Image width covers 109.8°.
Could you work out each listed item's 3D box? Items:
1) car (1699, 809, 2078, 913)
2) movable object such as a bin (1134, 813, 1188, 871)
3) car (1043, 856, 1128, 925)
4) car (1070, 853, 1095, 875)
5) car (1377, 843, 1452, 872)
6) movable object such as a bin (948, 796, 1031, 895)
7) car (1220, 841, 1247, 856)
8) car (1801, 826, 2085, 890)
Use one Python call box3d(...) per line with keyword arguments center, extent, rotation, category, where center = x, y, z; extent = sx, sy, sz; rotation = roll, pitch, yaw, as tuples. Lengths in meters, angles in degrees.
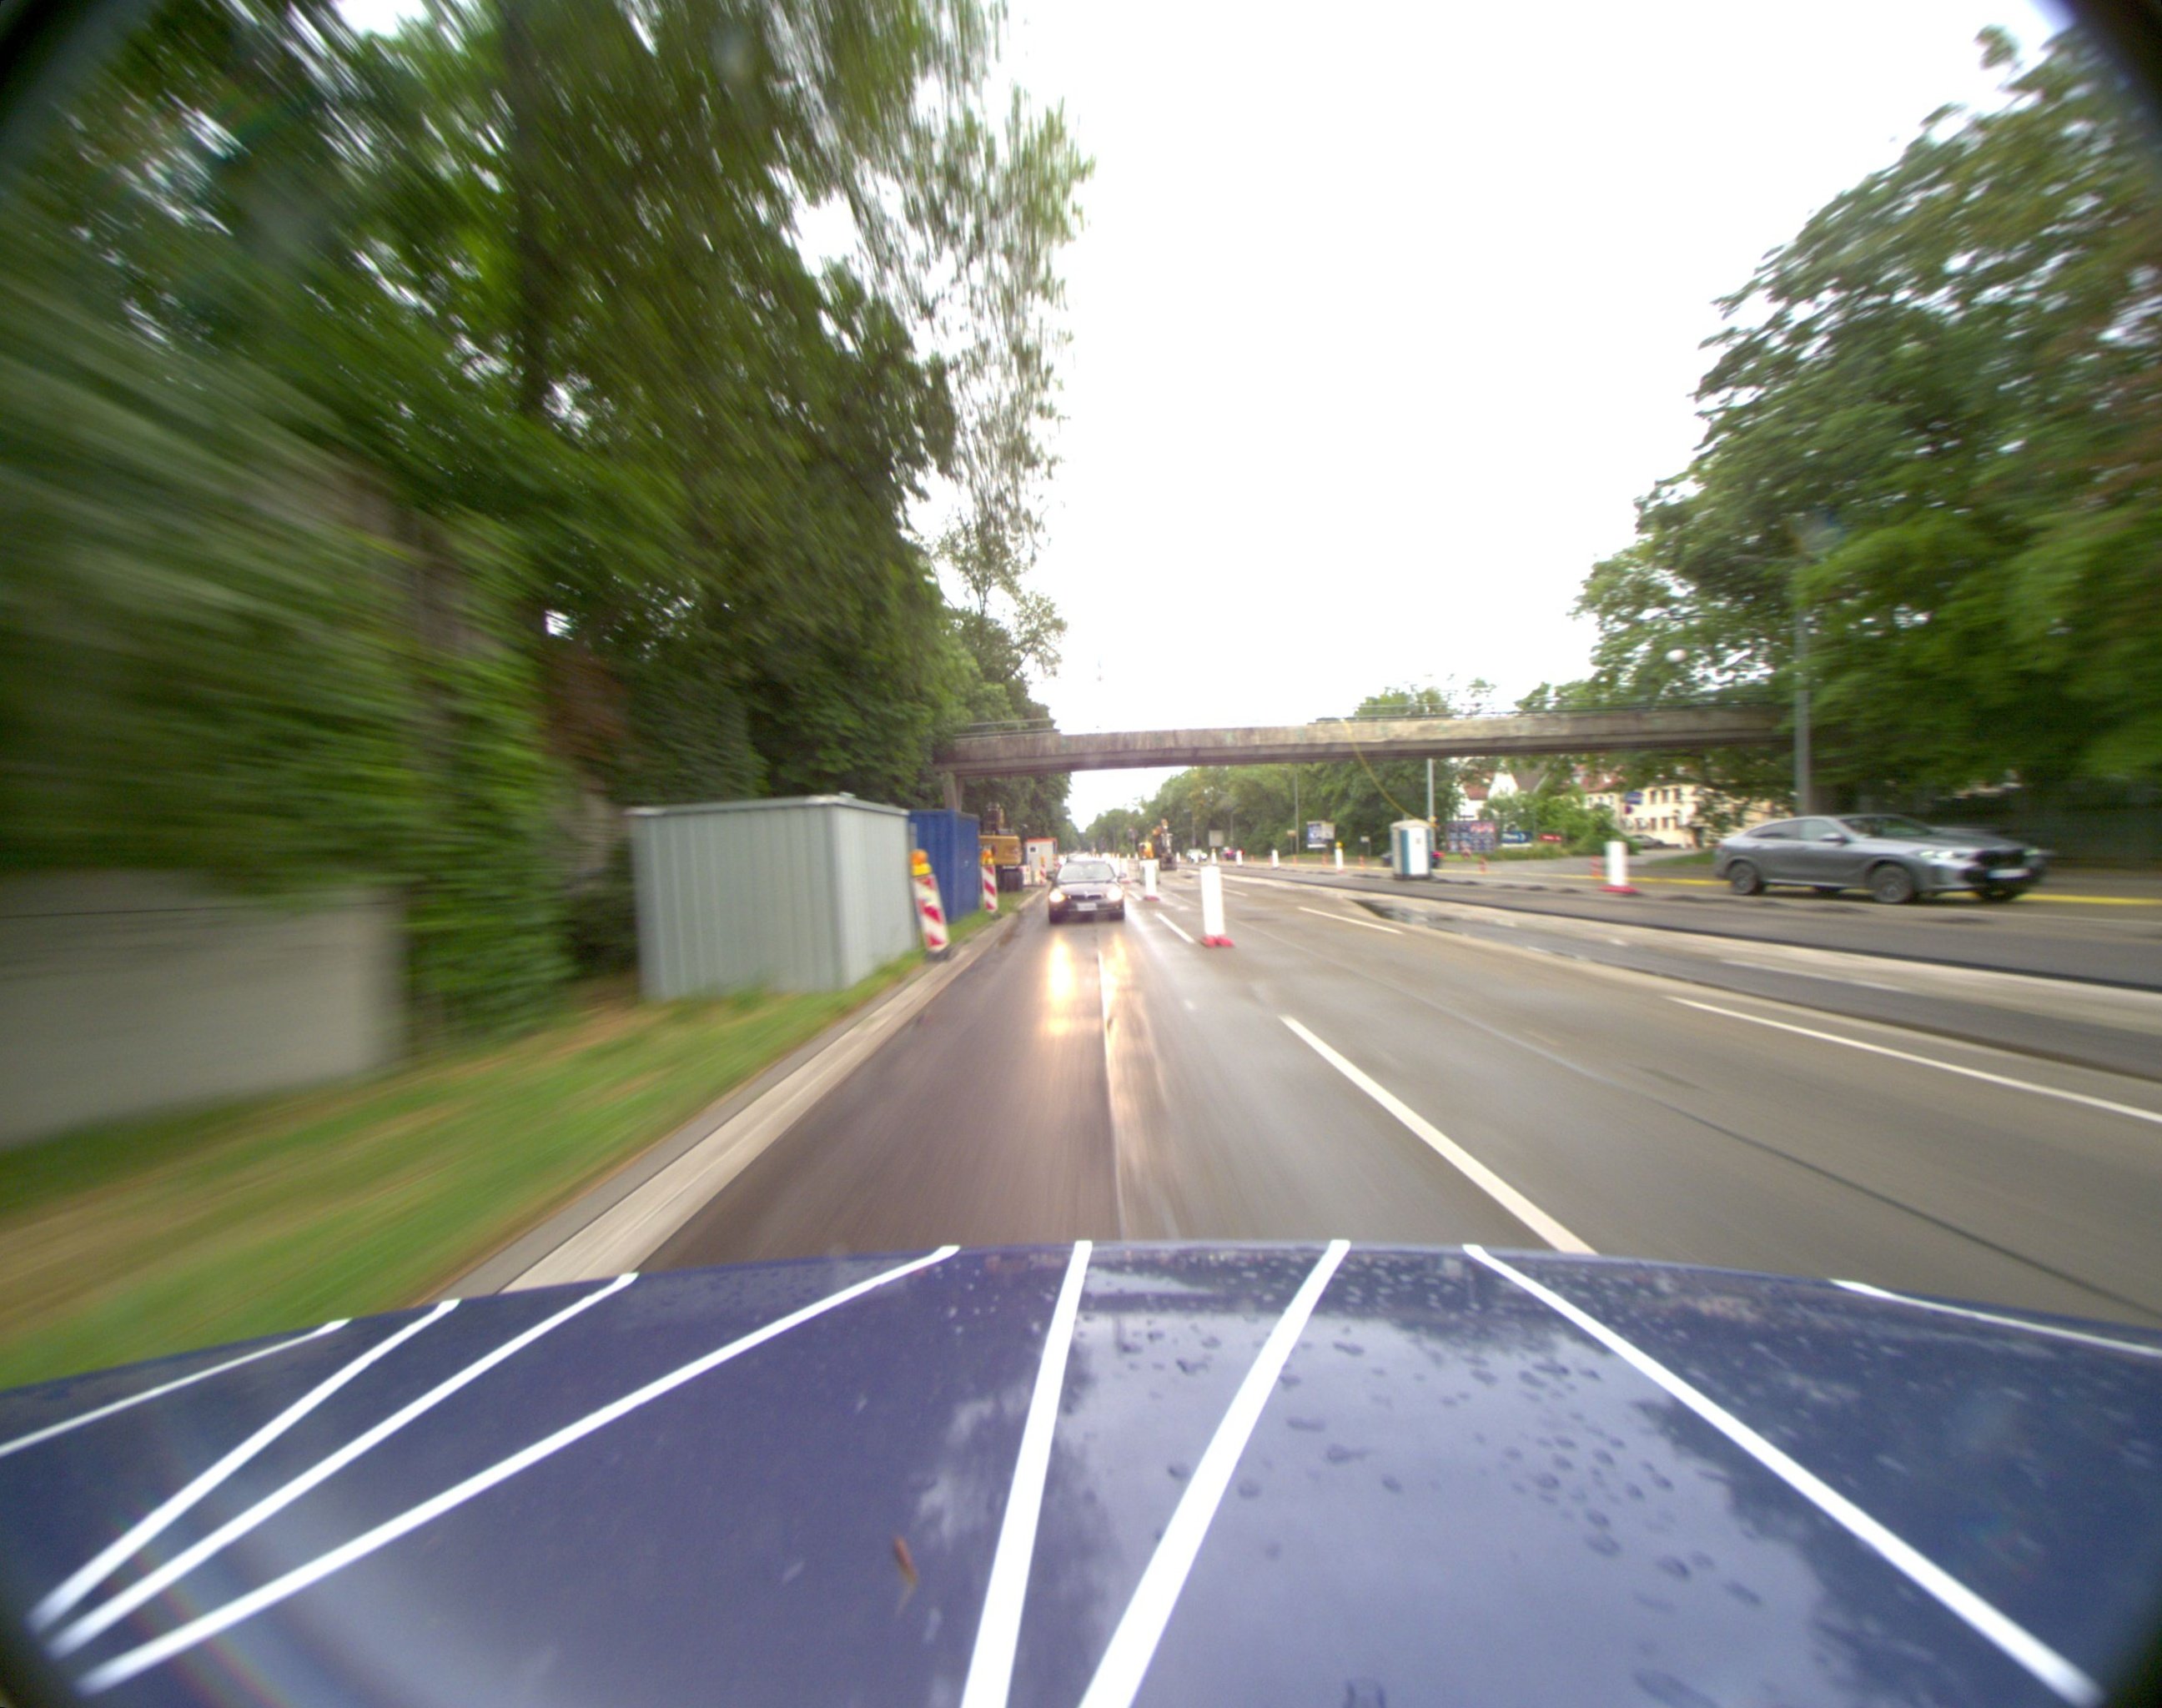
box3d(center=(15.286, 0.085, 14.976), extent=(2.082, 1.604, 5.055), rotation=(-2, 1, 0), category="car")
box3d(center=(6.766, -1.050, 65.896), extent=(3.526, 4.495, 10.068), rotation=(-2, 1, 1), category="movable object such as a bin")
box3d(center=(0.066, 0.823, 18.953), extent=(1.838, 1.397, 3.999), rotation=(-2, 1, -1), category="car")
box3d(center=(0.149, 0.850, 65.576), extent=(1.998, 1.650, 4.229), rotation=(-2, 1, 1), category="car")
box3d(center=(18.661, 0.140, 42.818), extent=(1.999, 1.451, 4.883), rotation=(-2, 1, 0), category="car")
box3d(center=(-3.900, -0.389, 33.976), extent=(2.890, 3.917, 6.104), rotation=(-2, 1, -1), category="movable object such as a bin")
box3d(center=(18.495, -0.656, 92.494), extent=(2.221, 1.729, 5.055), rotation=(-2, 1, 0), category="car")
box3d(center=(21.073, 0.033, 18.954), extent=(1.998, 1.340, 4.565), rotation=(-2, 1, 2), category="car")
